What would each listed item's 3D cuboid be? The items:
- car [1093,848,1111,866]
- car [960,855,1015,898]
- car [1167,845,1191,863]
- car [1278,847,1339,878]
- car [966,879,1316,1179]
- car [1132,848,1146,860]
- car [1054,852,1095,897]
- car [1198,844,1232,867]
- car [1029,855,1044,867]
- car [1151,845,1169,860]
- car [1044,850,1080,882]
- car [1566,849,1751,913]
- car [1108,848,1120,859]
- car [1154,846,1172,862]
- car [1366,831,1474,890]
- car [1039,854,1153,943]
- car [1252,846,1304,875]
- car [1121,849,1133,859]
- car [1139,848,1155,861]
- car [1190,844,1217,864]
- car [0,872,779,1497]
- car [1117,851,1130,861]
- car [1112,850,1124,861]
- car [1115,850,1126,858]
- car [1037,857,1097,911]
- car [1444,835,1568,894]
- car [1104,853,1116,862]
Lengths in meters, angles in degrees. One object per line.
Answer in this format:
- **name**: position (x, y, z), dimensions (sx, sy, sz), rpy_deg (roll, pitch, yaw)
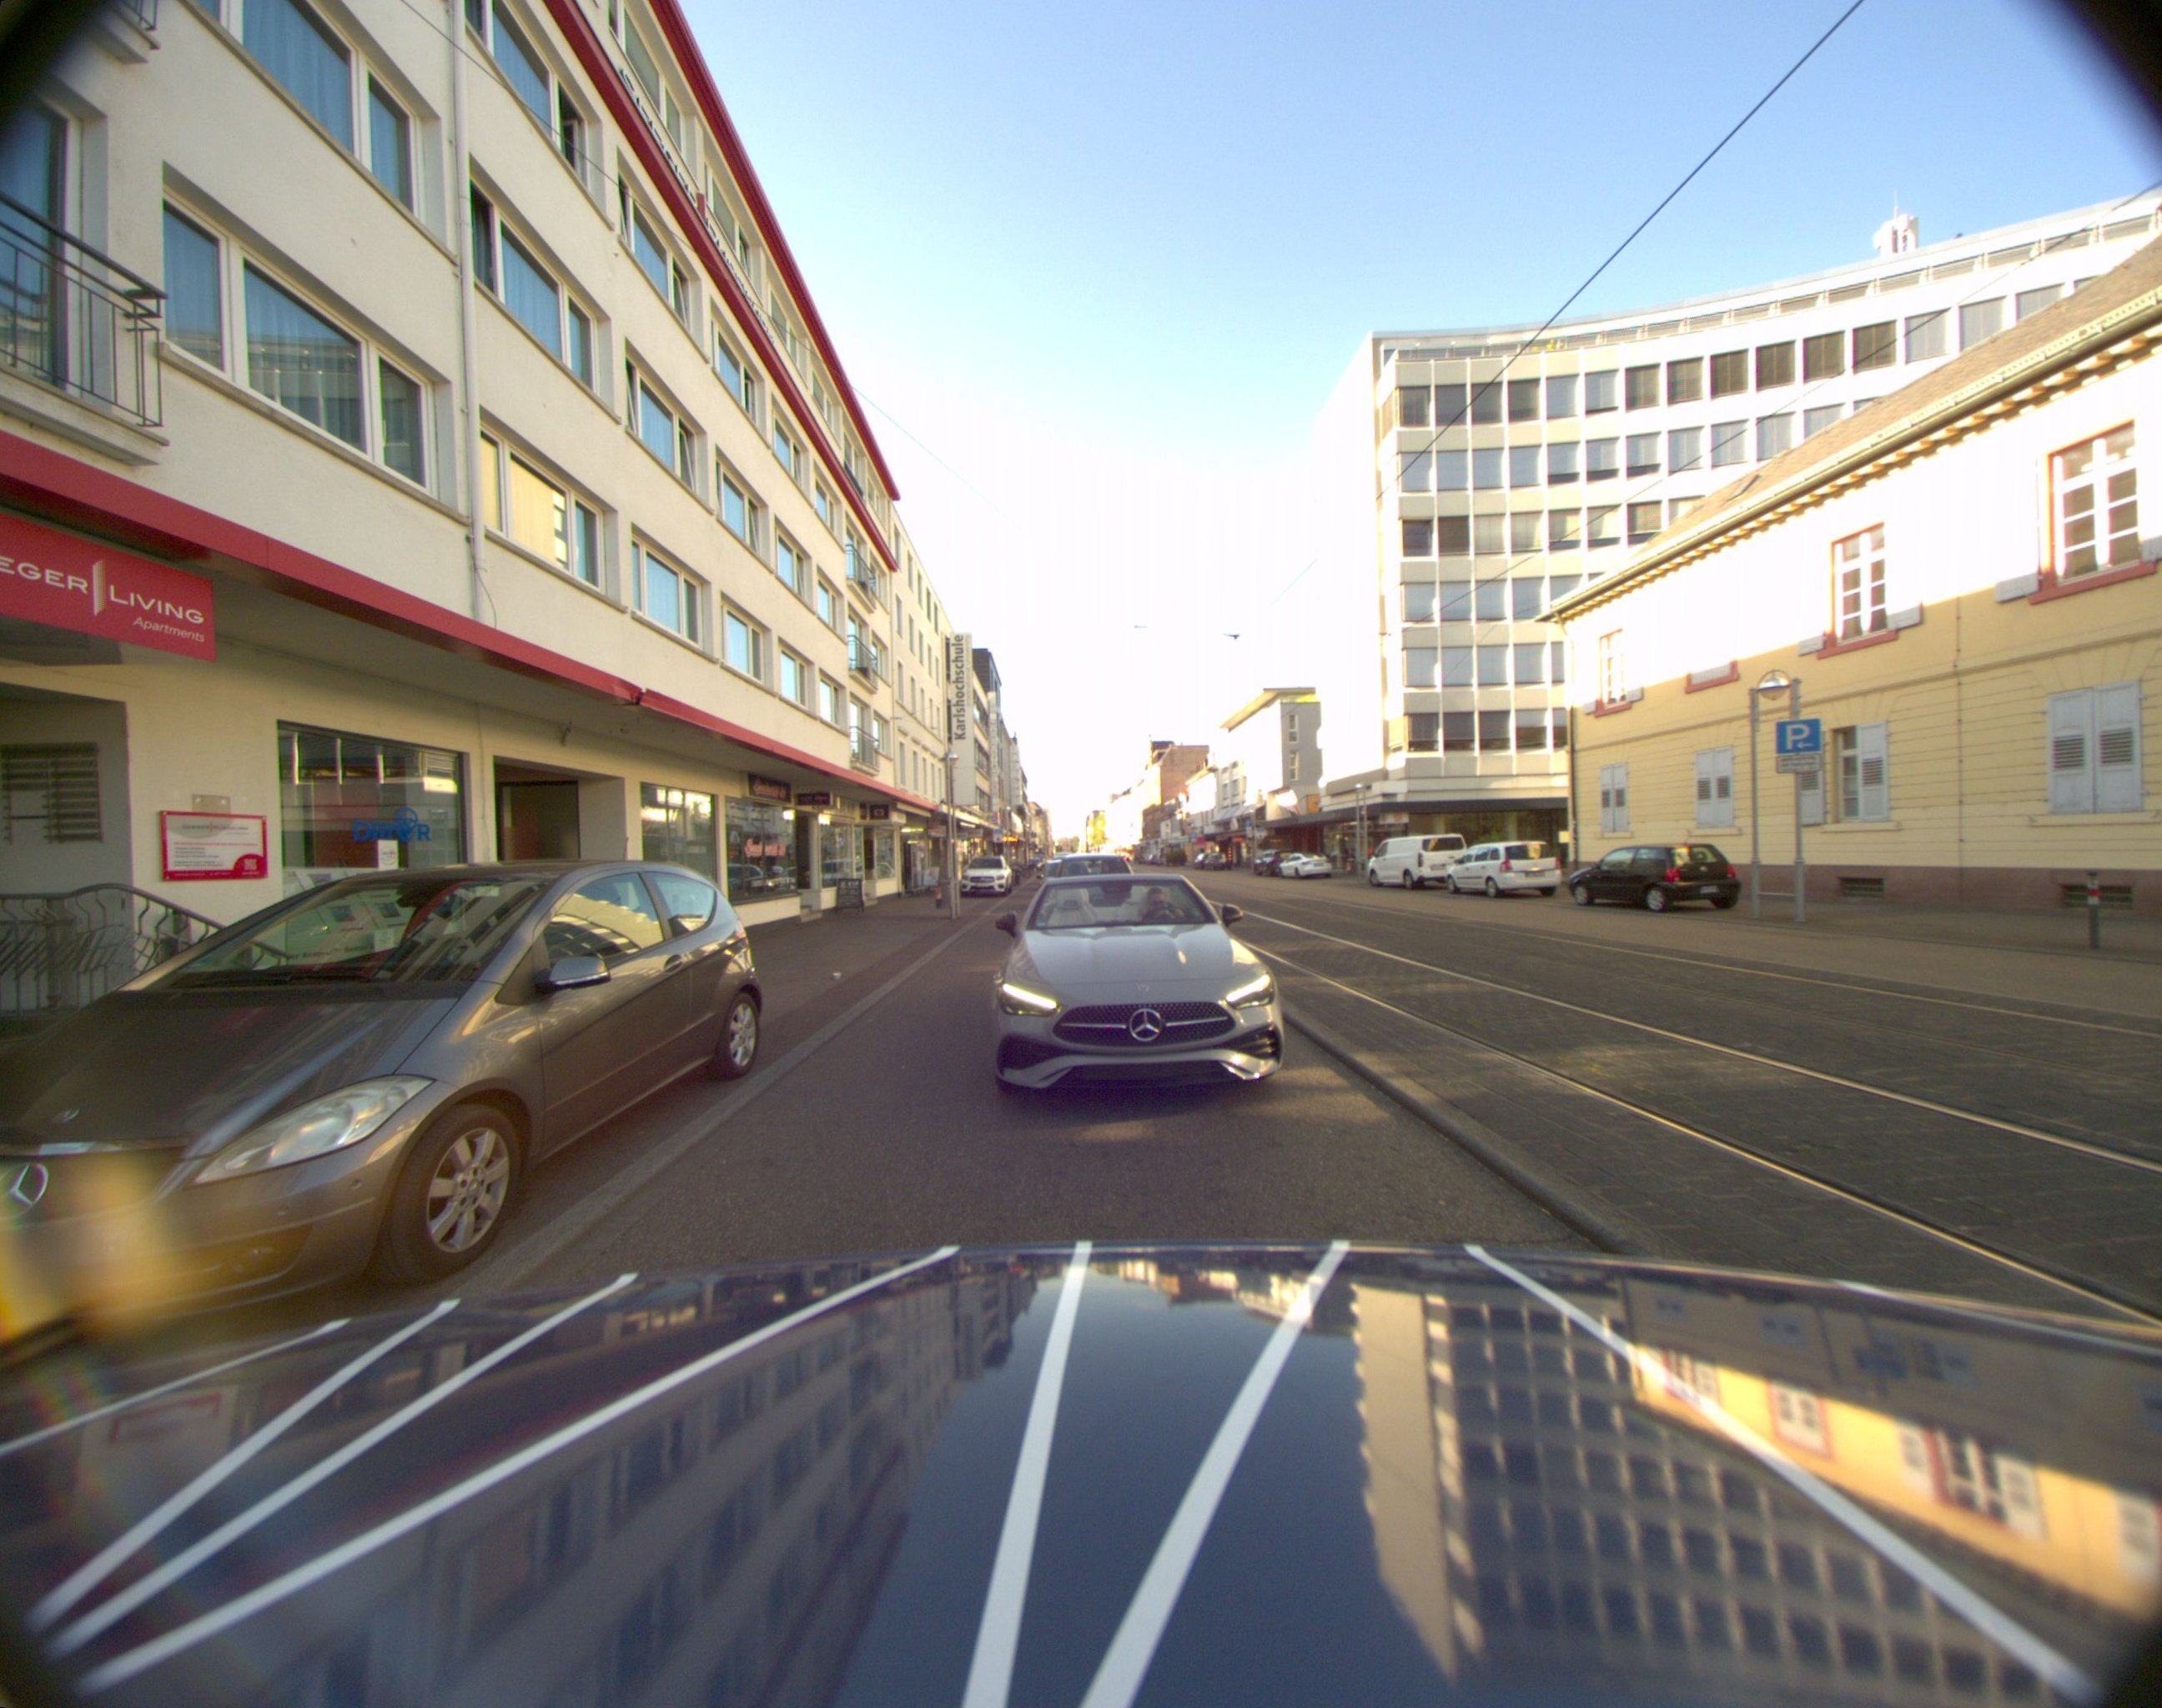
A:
- **car**: position (2.558, 0.348, 92.675), dimensions (1.947, 2.002, 3.999), rpy_deg (-2, 1, -1)
- **car**: position (-3.847, 0.891, 31.722), dimensions (1.999, 1.620, 3.998), rpy_deg (-1, 0, -4)
- **car**: position (11.557, -0.048, 90.263), dimensions (2.200, 2.030, 3.999), rpy_deg (-1, 0, -1)
- **car**: position (12.563, 0.426, 42.256), dimensions (1.999, 1.521, 4.373), rpy_deg (-2, 1, -1)
- **car**: position (0.200, 1.013, 6.153), dimensions (1.884, 1.375, 3.998), rpy_deg (-2, 1, -4)
- **car**: position (10.174, -0.024, 134.391), dimensions (1.999, 2.002, 3.999), rpy_deg (-2, 0, -2)
- **car**: position (-0.302, 0.808, 31.944), dimensions (1.573, 1.670, 3.688), rpy_deg (-2, 1, -1)
- **car**: position (11.518, 0.123, 65.562), dimensions (1.999, 1.849, 3.998), rpy_deg (-2, 1, -2)
- **car**: position (-5.751, 0.840, 97.884), dimensions (1.714, 1.430, 3.756), rpy_deg (-2, 1, -1)
- **car**: position (11.526, -0.255, 111.438), dimensions (1.999, 2.002, 3.998), rpy_deg (-2, 1, -2)
- **car**: position (-1.148, 0.693, 46.282), dimensions (1.999, 1.793, 3.999), rpy_deg (-2, 1, -1)
- **car**: position (12.843, 0.543, 17.149), dimensions (1.688, 1.246, 3.212), rpy_deg (-2, 1, -1)
- **car**: position (6.229, -0.113, 143.978), dimensions (1.914, 1.883, 3.855), rpy_deg (-2, 1, -2)
- **car**: position (10.857, 0.011, 100.822), dimensions (1.998, 2.002, 4.000), rpy_deg (-2, 0, 1)
- **car**: position (12.681, 0.234, 28.791), dimensions (2.040, 2.002, 4.621), rpy_deg (-1, 0, 1)
- **car**: position (0.172, 0.797, 15.680), dimensions (1.927, 1.533, 3.998), rpy_deg (-2, 0, -4)
- **car**: position (12.295, 0.368, 47.590), dimensions (1.999, 1.694, 4.107), rpy_deg (-3, 1, -2)
- **car**: position (9.550, -0.050, 157.281), dimensions (1.999, 2.002, 3.999), rpy_deg (-2, 0, -2)
- **car**: position (10.491, 0.072, 121.527), dimensions (1.999, 2.002, 5.320), rpy_deg (-2, 0, -1)
- **car**: position (11.934, 0.018, 74.052), dimensions (1.789, 1.870, 3.999), rpy_deg (-2, 0, -2)
- **car**: position (-3.210, 0.937, 3.977), dimensions (1.683, 1.537, 3.999), rpy_deg (-2, 0, -1)
- **car**: position (6.942, 0.321, 125.570), dimensions (1.760, 1.587, 3.999), rpy_deg (-1, 0, -2)
- **car**: position (7.420, 0.265, 151.427), dimensions (1.999, 2.002, 3.998), rpy_deg (-2, 1, -2)
- **car**: position (9.070, -0.046, 176.543), dimensions (2.148, 1.850, 3.998), rpy_deg (-2, 1, -2)
- **car**: position (-0.435, 0.866, 23.691), dimensions (1.648, 1.506, 3.844), rpy_deg (-2, 0, -1)
- **car**: position (12.764, 0.272, 23.120), dimensions (1.641, 1.600, 4.005), rpy_deg (-2, 1, 3)
- **car**: position (5.251, 0.625, 136.875), dimensions (1.964, 1.499, 4.000), rpy_deg (-2, 1, 4)
